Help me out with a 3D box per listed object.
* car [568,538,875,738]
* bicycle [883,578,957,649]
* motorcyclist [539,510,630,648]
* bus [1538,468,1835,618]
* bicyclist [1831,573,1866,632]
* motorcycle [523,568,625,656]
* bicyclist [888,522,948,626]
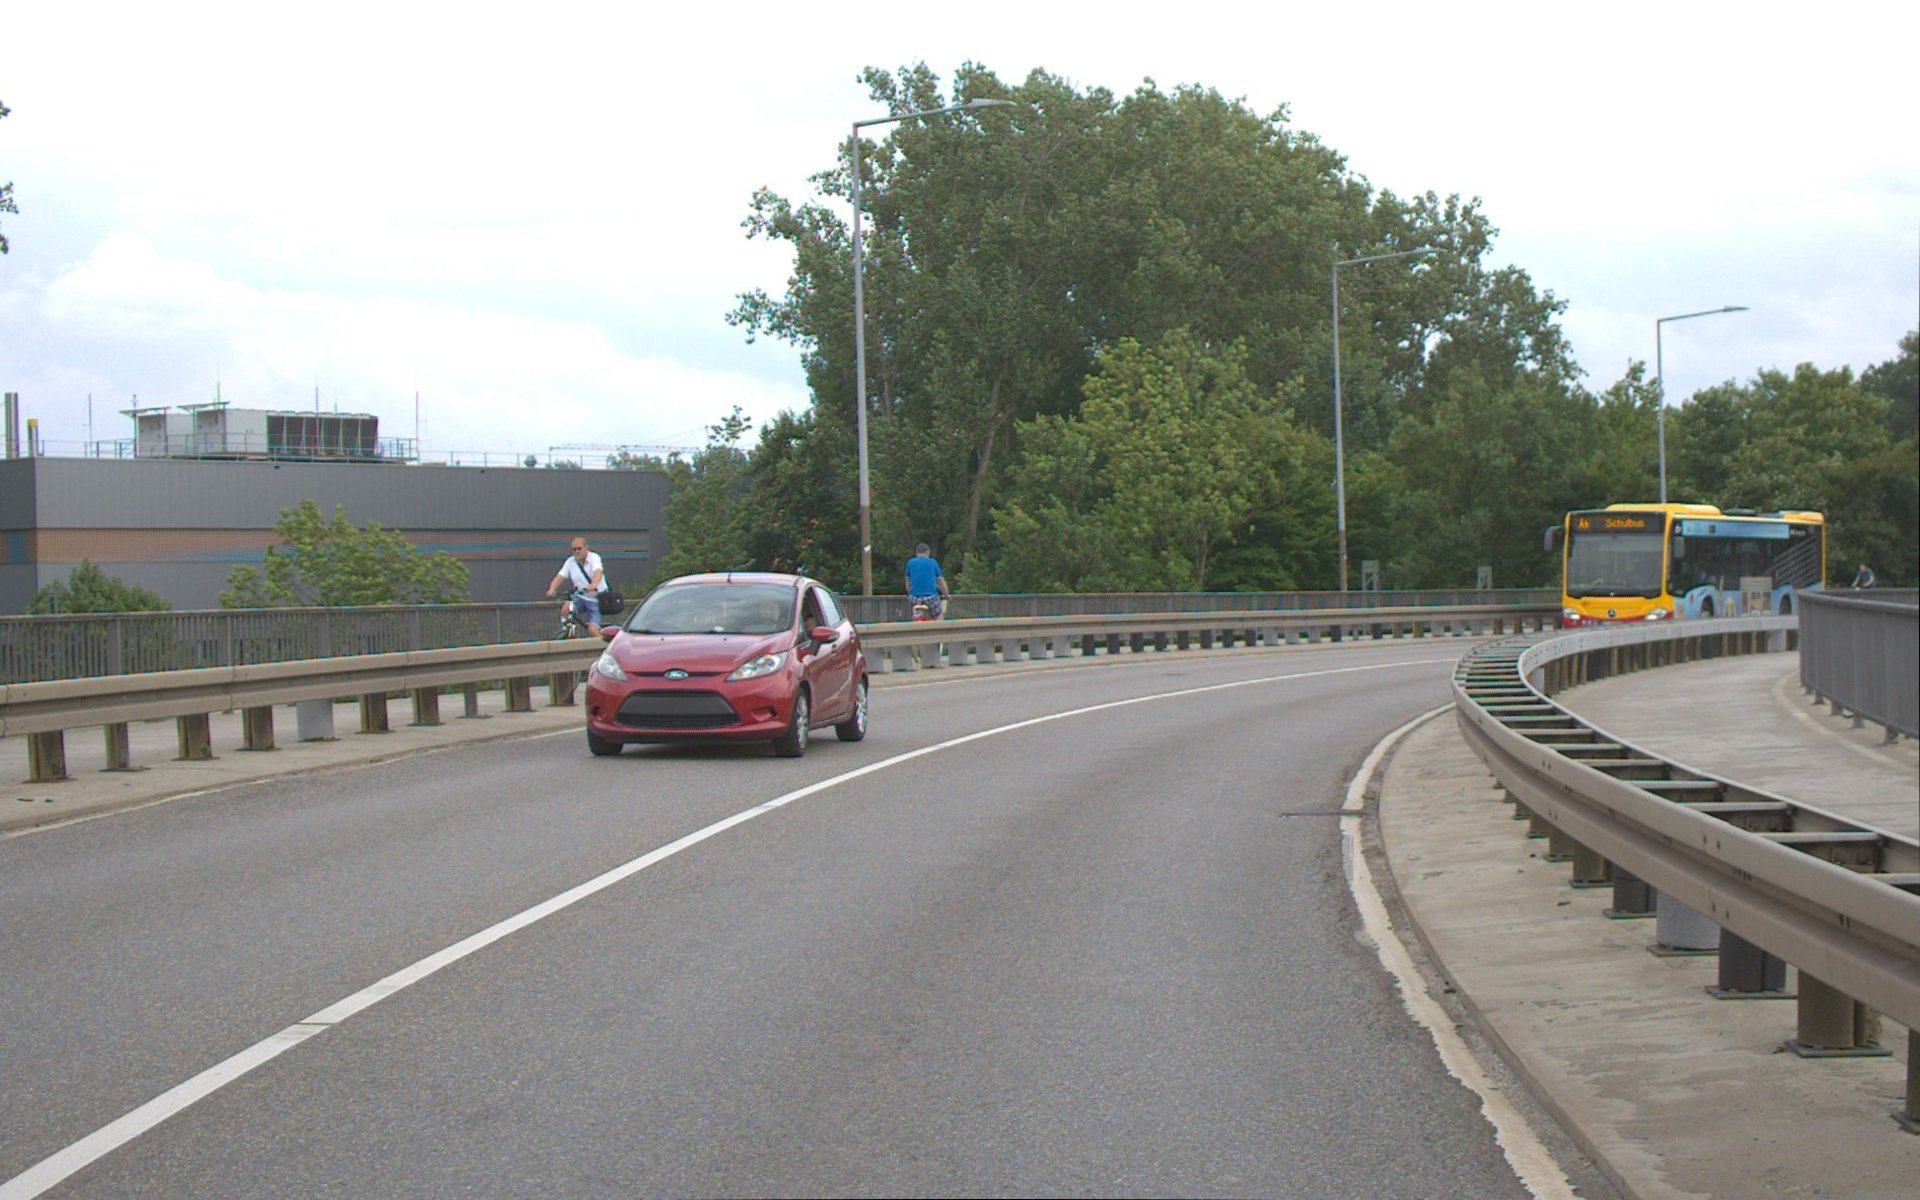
[{"bbox_3d":[-1.849,0.294,27.880,1.759,1.487,3.999,0,0,7],"label":"car"},{"bbox_3d":[-0.595,0.205,51.449,0.493,1.042,1.808,0,0,20],"label":"bicycle"},{"bbox_3d":[-4.220,-0.234,38.676,0.810,1.524,0.824,0,0,9],"label":"motorcyclist"},{"bbox_3d":[17.379,-1.227,81.228,3.037,3.222,12.929,0,0,30],"label":"bus"},{"bbox_3d":[26.951,0.079,104.266,0.850,1.802,0.795,0,0,27],"label":"bicyclist"},{"bbox_3d":[-4.294,0.134,38.353,0.626,0.960,1.839,0,0,10],"label":"motorcycle"},{"bbox_3d":[-0.626,-0.386,51.460,0.611,1.535,0.756,0,0,25],"label":"bicyclist"}]
